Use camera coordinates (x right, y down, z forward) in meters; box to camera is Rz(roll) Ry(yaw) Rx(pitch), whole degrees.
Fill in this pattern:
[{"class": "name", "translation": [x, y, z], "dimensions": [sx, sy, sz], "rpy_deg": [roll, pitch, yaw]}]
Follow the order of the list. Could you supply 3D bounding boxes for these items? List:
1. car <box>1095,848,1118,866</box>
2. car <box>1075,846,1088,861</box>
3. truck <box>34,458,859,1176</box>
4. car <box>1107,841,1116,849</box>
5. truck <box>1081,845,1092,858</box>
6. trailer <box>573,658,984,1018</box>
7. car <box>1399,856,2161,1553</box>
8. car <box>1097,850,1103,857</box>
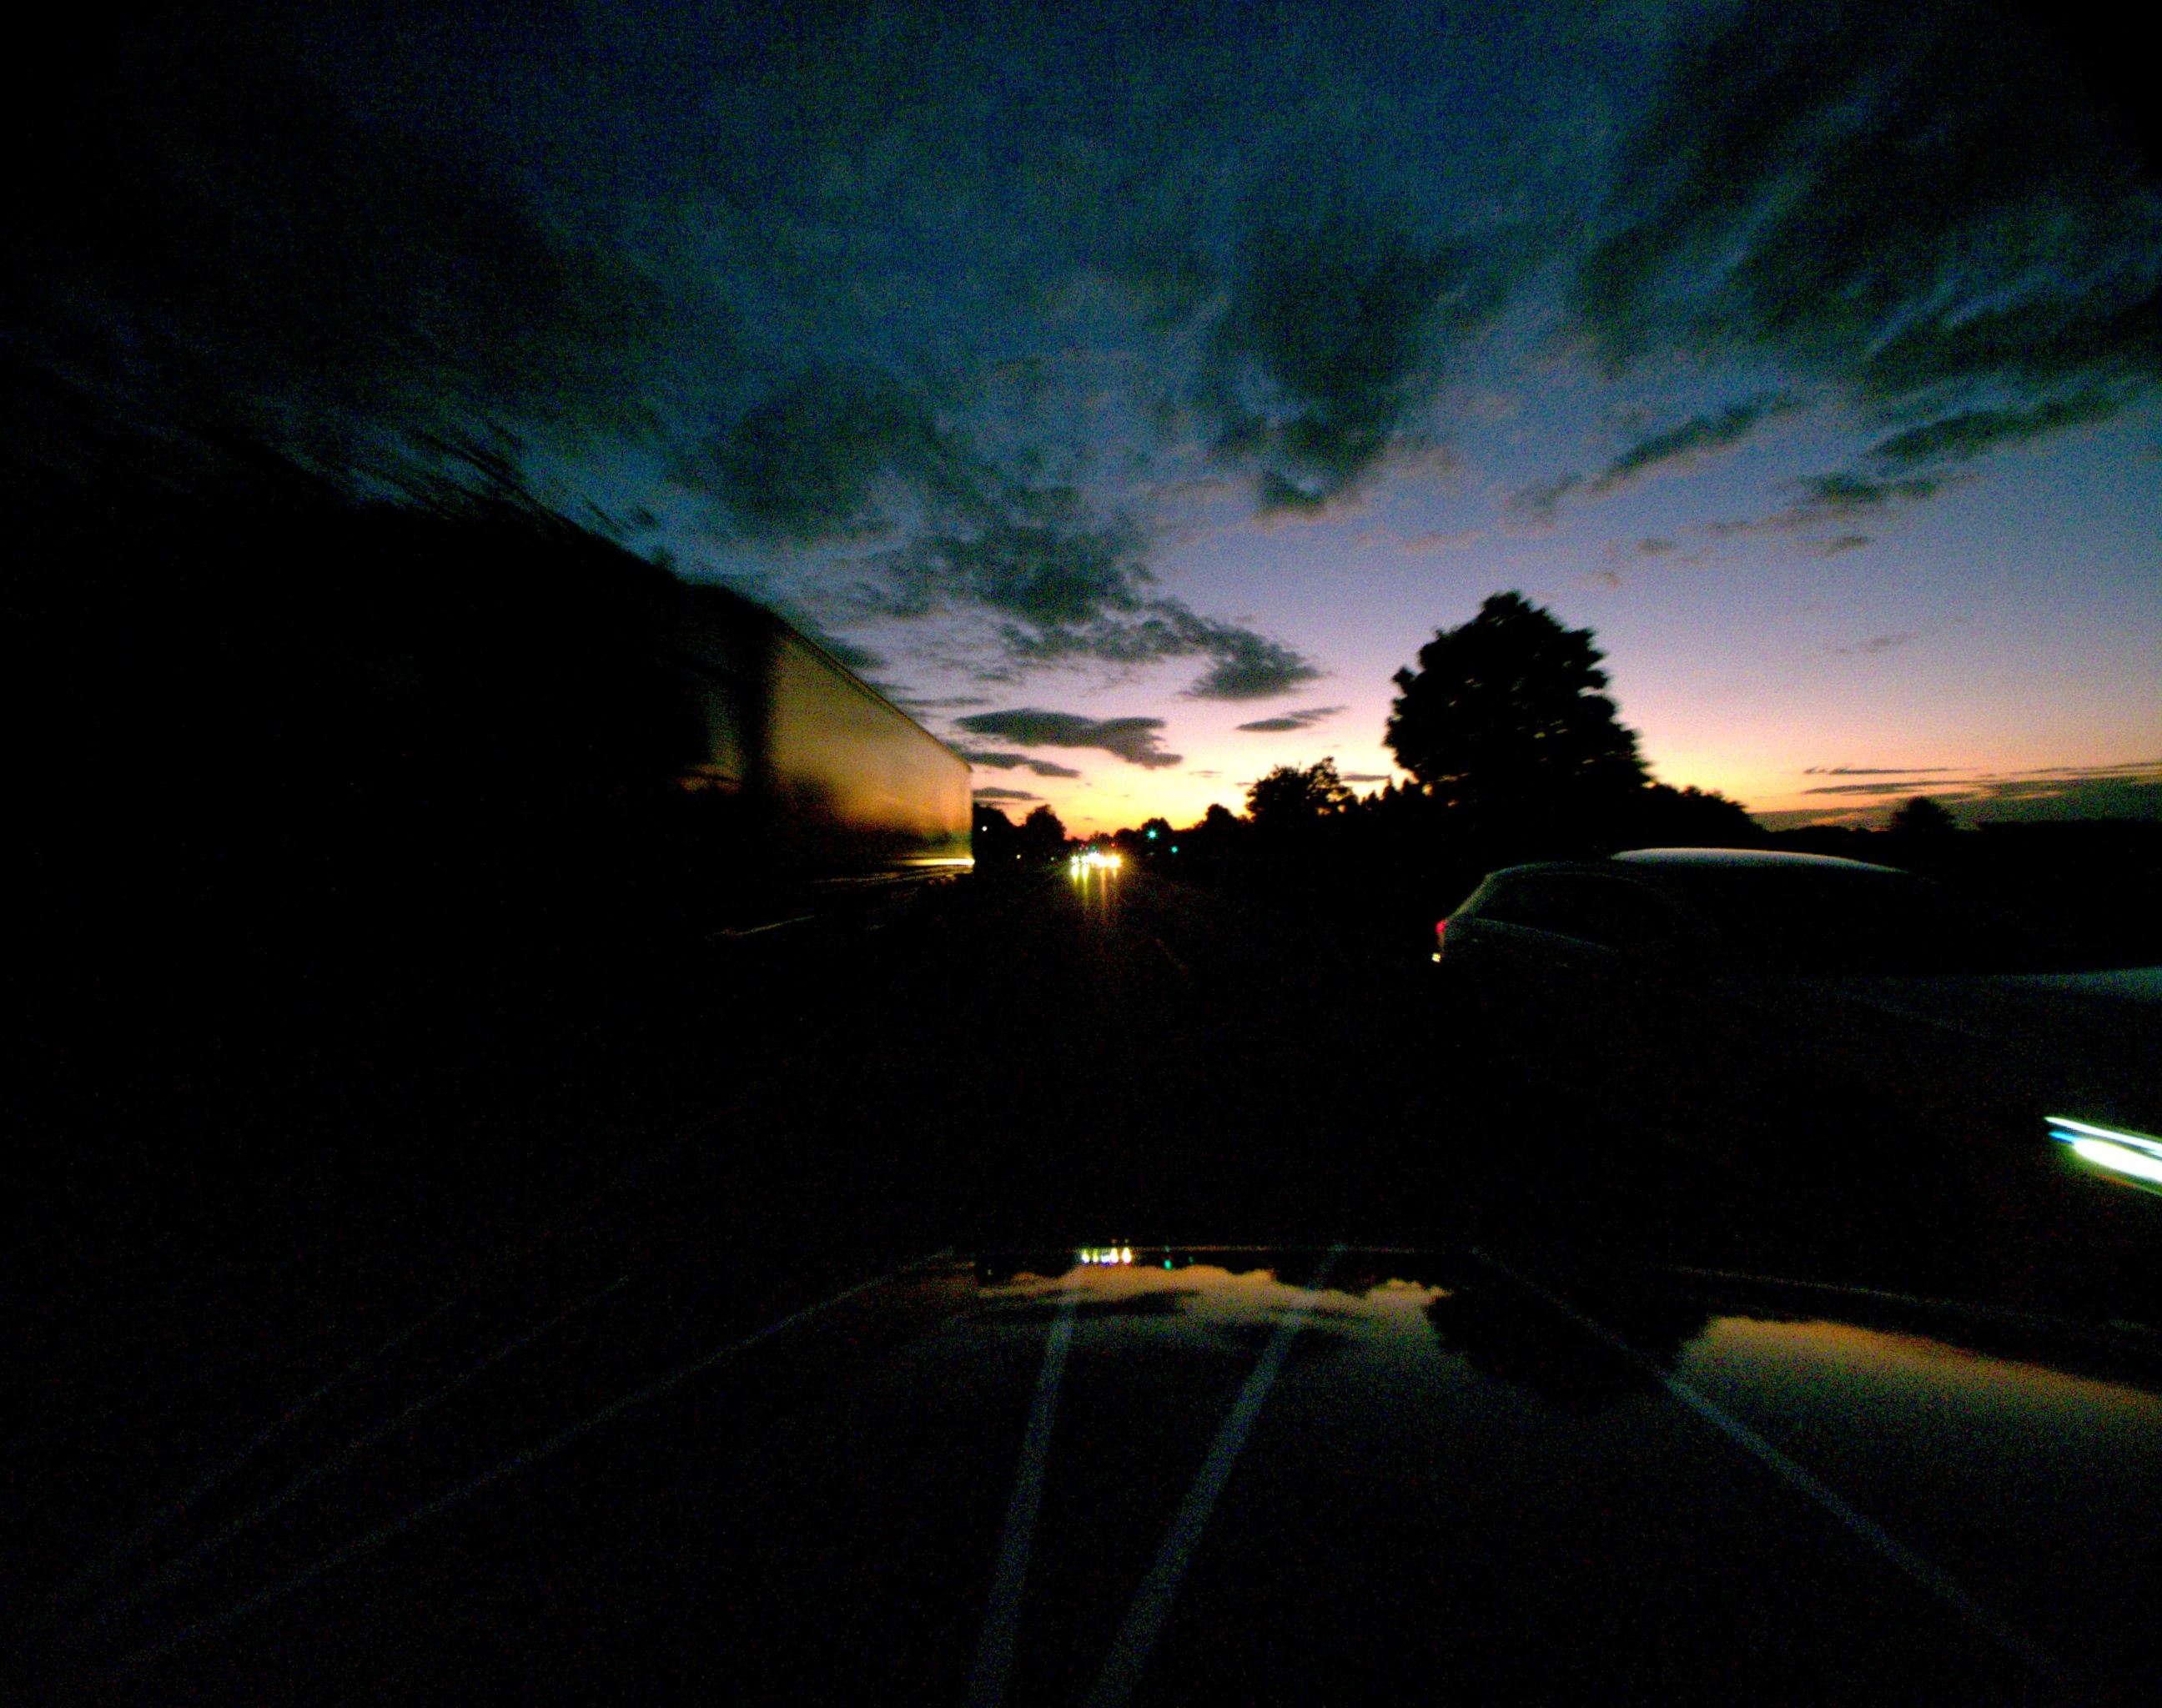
[{"class": "car", "translation": [2.475, 0.245, 74.125], "dimensions": [1.999, 1.635, 4.296], "rpy_deg": [-2, 1, -1]}, {"class": "car", "translation": [0.119, -0.131, 106.309], "dimensions": [1.741, 2.002, 4.000], "rpy_deg": [-2, 0, 0]}, {"class": "truck", "translation": [-4.208, -0.205, 6.837], "dimensions": [2.490, 3.778, 5.498], "rpy_deg": [-2, 1, 2]}, {"class": "car", "translation": [7.346, -2.231, 184.981], "dimensions": [1.999, 2.002, 3.999], "rpy_deg": [-2, 1, 0]}, {"class": "truck", "translation": [1.681, -0.895, 229.768], "dimensions": [3.016, 3.674, 9.057], "rpy_deg": [-2, 1, 0]}, {"class": "trailer", "translation": [-4.063, -0.236, 14.509], "dimensions": [2.475, 3.790, 12.670], "rpy_deg": [-2, 1, 1]}, {"class": "car", "translation": [3.310, 0.812, 3.692], "dimensions": [1.646, 1.482, 4.579], "rpy_deg": [-2, 1, 1]}, {"class": "car", "translation": [6.392, -0.174, 256.766], "dimensions": [1.998, 2.002, 4.000], "rpy_deg": [-2, 1, 2]}]
